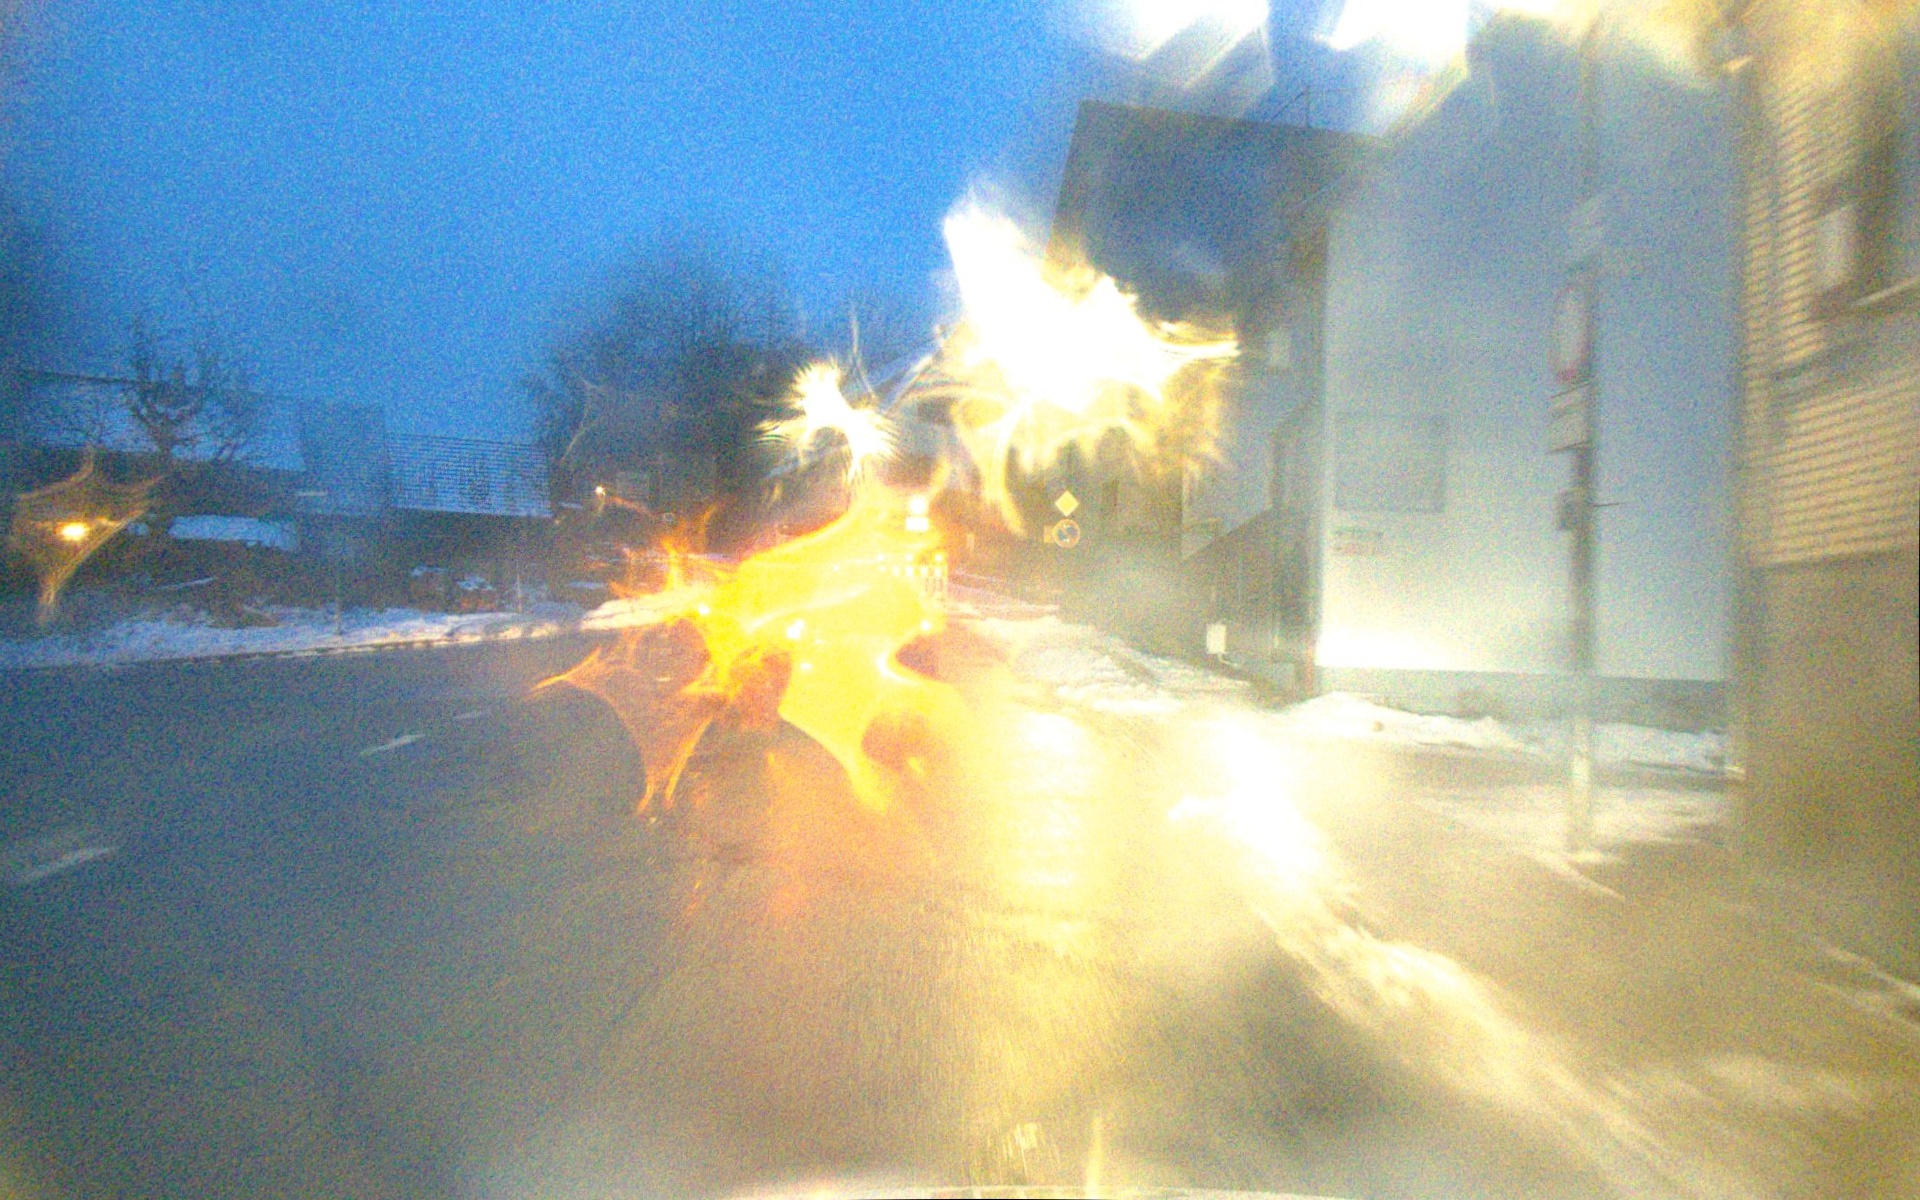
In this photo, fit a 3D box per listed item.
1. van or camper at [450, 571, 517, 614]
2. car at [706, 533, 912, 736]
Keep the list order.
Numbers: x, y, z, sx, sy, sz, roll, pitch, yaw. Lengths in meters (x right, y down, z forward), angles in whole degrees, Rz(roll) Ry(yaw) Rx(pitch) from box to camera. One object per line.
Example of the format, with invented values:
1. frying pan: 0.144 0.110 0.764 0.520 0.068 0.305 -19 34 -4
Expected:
1. van or camper: -13.781 -0.187 47.717 1.267 1.121 3.244 2 -2 -27
2. car: -1.635 0.290 16.855 1.789 1.828 3.569 -1 0 -10
